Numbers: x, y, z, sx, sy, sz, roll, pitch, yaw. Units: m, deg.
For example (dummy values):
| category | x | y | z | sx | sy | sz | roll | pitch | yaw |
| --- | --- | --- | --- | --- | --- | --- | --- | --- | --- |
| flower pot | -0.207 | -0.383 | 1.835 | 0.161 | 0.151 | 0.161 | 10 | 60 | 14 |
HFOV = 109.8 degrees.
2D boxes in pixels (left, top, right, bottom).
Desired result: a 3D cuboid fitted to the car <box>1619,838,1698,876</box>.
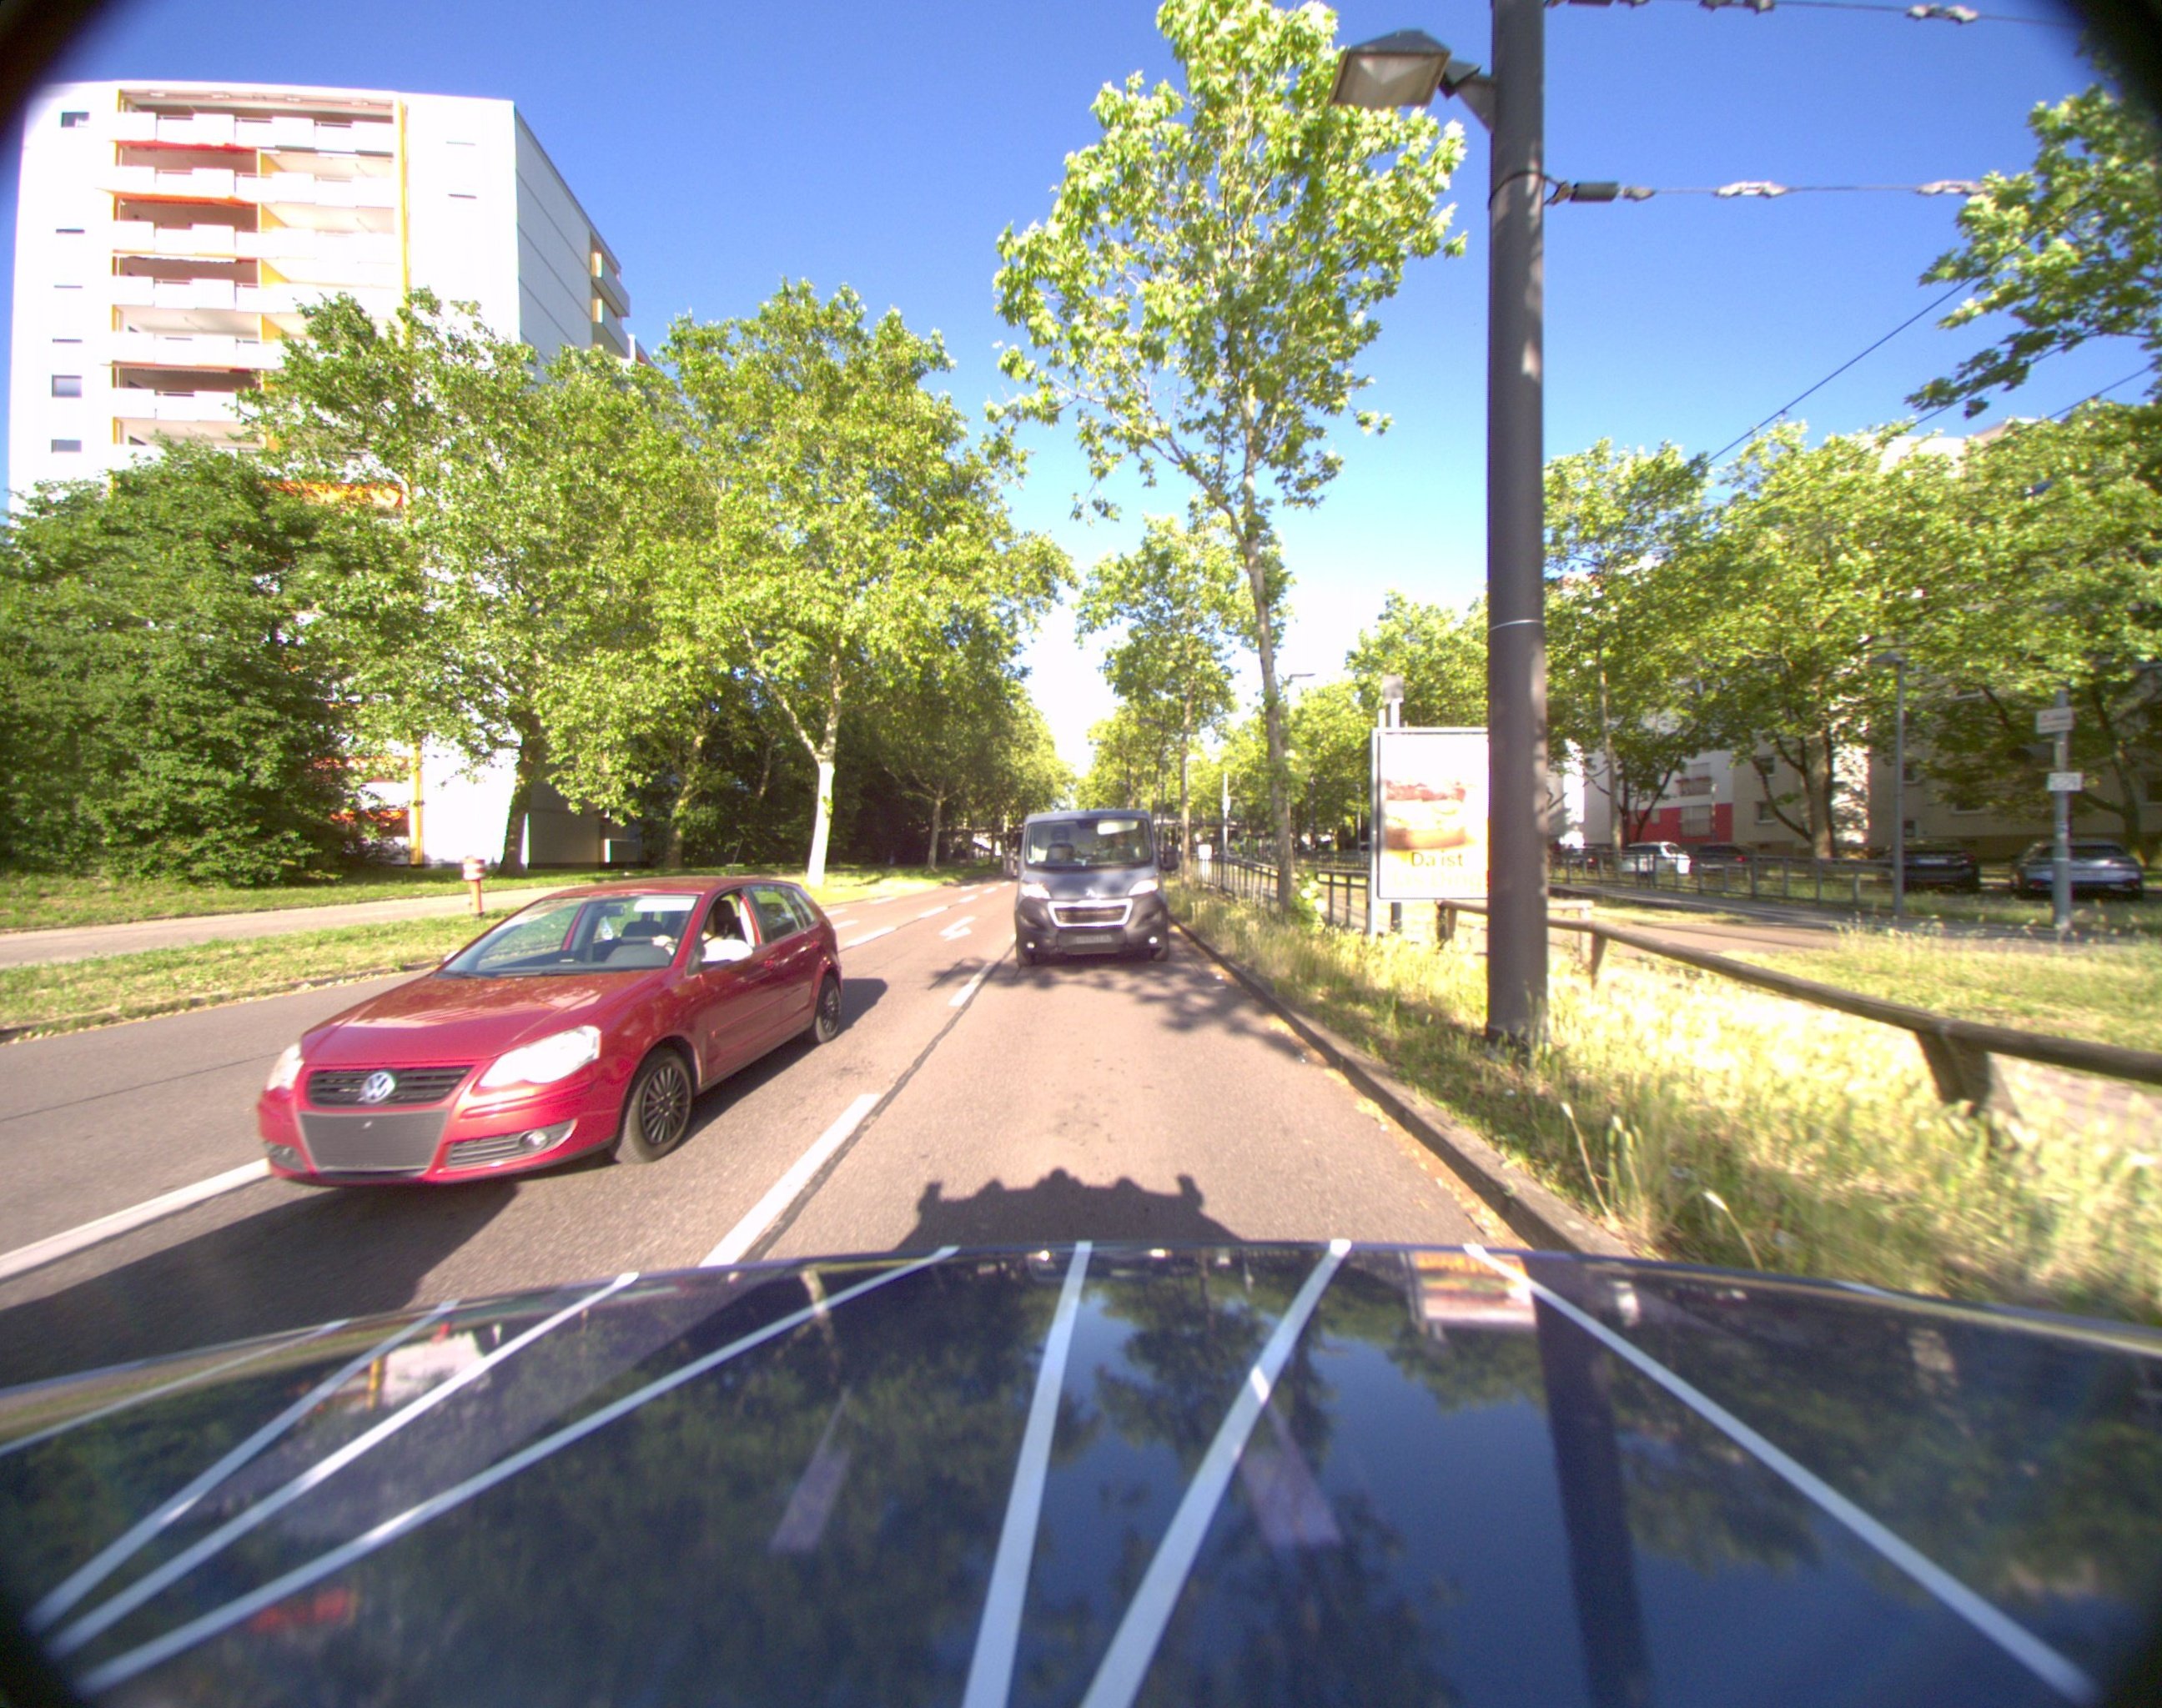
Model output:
| category | x | y | z | sx | sy | sz | roll | pitch | yaw |
| --- | --- | --- | --- | --- | --- | --- | --- | --- | --- |
| car | 24.768 | 0.108 | 32.538 | 4.057 | 1.490 | 1.791 | -2 | 0 | -39 |

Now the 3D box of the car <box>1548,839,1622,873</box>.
| category | x | y | z | sx | sy | sz | roll | pitch | yaw |
| --- | --- | --- | --- | --- | --- | --- | --- | --- | --- |
| car | 24.170 | 0.075 | 36.408 | 4.057 | 1.490 | 1.791 | -2 | 0 | -39 |

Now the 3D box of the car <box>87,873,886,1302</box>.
| category | x | y | z | sx | sy | sz | roll | pitch | yaw |
| --- | --- | --- | --- | --- | --- | --- | --- | --- | --- |
| car | -2.962 | 0.989 | 5.359 | 1.772 | 1.549 | 4.727 | -1 | 0 | 2 |

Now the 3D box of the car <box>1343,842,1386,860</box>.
| category | x | y | z | sx | sy | sz | roll | pitch | yaw |
| --- | --- | --- | --- | --- | --- | --- | --- | --- | --- |
| car | 24.717 | -0.264 | 66.244 | 4.057 | 1.490 | 1.791 | -2 | 0 | -42 |

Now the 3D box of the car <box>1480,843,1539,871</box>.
| category | x | y | z | sx | sy | sz | roll | pitch | yaw |
| --- | --- | --- | --- | --- | --- | --- | --- | --- | --- |
| car | 24.715 | 0.172 | 43.776 | 4.057 | 1.490 | 1.791 | -2 | 0 | -42 |

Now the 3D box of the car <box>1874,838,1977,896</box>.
| category | x | y | z | sx | sy | sz | roll | pitch | yaw |
| --- | --- | --- | --- | --- | --- | --- | --- | --- | --- |
| car | 24.412 | 0.328 | 21.925 | 4.057 | 1.490 | 1.791 | -2 | 0 | -39 |

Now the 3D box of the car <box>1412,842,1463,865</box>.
| category | x | y | z | sx | sy | sz | roll | pitch | yaw |
| --- | --- | --- | --- | --- | --- | --- | --- | --- | --- |
| car | 25.135 | -0.069 | 53.544 | 4.057 | 1.490 | 1.791 | -2 | 0 | -42 |

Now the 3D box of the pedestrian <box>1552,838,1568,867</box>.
| category | x | y | z | sx | sy | sz | roll | pitch | yaw |
| --- | --- | --- | --- | --- | --- | --- | --- | --- | --- |
| pedestrian | 33.364 | -0.133 | 52.890 | 0.681 | 2.002 | 0.645 | -1 | 1 | -3 |

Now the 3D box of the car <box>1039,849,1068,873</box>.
| category | x | y | z | sx | sy | sz | roll | pitch | yaw |
| --- | --- | --- | --- | --- | --- | --- | --- | --- | --- |
| car | -1.910 | 0.459 | 52.485 | 1.914 | 1.549 | 4.725 | -1 | 0 | -3 |

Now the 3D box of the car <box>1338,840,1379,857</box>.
| category | x | y | z | sx | sy | sz | roll | pitch | yaw |
| --- | --- | --- | --- | --- | --- | --- | --- | --- | --- |
| car | 25.434 | -0.512 | 69.544 | 4.057 | 1.490 | 1.791 | -2 | 0 | -42 |

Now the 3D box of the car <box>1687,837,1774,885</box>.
| category | x | y | z | sx | sy | sz | roll | pitch | yaw |
| --- | --- | --- | --- | --- | --- | --- | --- | --- | --- |
| car | 24.857 | 0.247 | 29.036 | 4.057 | 1.654 | 1.791 | -2 | 0 | -39 |

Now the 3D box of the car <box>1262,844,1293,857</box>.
| category | x | y | z | sx | sy | sz | roll | pitch | yaw |
| --- | --- | --- | --- | --- | --- | --- | --- | --- | --- |
| car | 24.836 | -0.448 | 95.856 | 4.057 | 1.490 | 1.791 | -2 | 0 | -42 |

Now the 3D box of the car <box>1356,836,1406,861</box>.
| category | x | y | z | sx | sy | sz | roll | pitch | yaw |
| --- | --- | --- | --- | --- | --- | --- | --- | --- | --- |
| car | 24.839 | -0.457 | 62.895 | 4.441 | 1.908 | 2.016 | -2 | 0 | -42 |

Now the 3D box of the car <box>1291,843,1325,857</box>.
| category | x | y | z | sx | sy | sz | roll | pitch | yaw |
| --- | --- | --- | --- | --- | --- | --- | --- | --- | --- |
| car | 25.494 | -0.434 | 85.232 | 4.057 | 1.490 | 1.791 | -2 | 0 | -42 |

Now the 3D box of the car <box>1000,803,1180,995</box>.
| category | x | y | z | sx | sy | sz | roll | pitch | yaw |
| --- | --- | --- | --- | --- | --- | --- | --- | --- | --- |
| car | 0.094 | 0.491 | 11.644 | 2.040 | 2.191 | 5.660 | -1 | 1 | 0 |

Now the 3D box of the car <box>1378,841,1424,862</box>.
| category | x | y | z | sx | sy | sz | roll | pitch | yaw |
| --- | --- | --- | --- | --- | --- | --- | --- | --- | --- |
| car | 25.317 | -0.223 | 60.022 | 4.057 | 1.490 | 1.791 | -2 | 0 | -42 |

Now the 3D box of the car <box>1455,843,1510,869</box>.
| category | x | y | z | sx | sy | sz | roll | pitch | yaw |
| --- | --- | --- | --- | --- | --- | --- | --- | --- | --- |
| car | 25.179 | 0.109 | 47.598 | 4.057 | 1.490 | 1.791 | -2 | 0 | -42 |

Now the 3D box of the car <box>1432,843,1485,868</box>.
| category | x | y | z | sx | sy | sz | roll | pitch | yaw |
| --- | --- | --- | --- | --- | --- | --- | --- | --- | --- |
| car | 25.269 | 0.081 | 50.796 | 4.057 | 1.490 | 1.791 | -2 | 0 | -42 |

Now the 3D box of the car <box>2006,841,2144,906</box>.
| category | x | y | z | sx | sy | sz | roll | pitch | yaw |
| --- | --- | --- | --- | --- | --- | --- | --- | --- | --- |
| car | 24.402 | 0.434 | 18.794 | 4.057 | 1.380 | 1.791 | -2 | 0 | -41 |

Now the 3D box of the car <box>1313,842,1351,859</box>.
| category | x | y | z | sx | sy | sz | roll | pitch | yaw |
| --- | --- | --- | --- | --- | --- | --- | --- | --- | --- |
| car | 24.823 | -0.350 | 75.184 | 4.057 | 1.490 | 1.791 | -2 | 0 | -42 |
